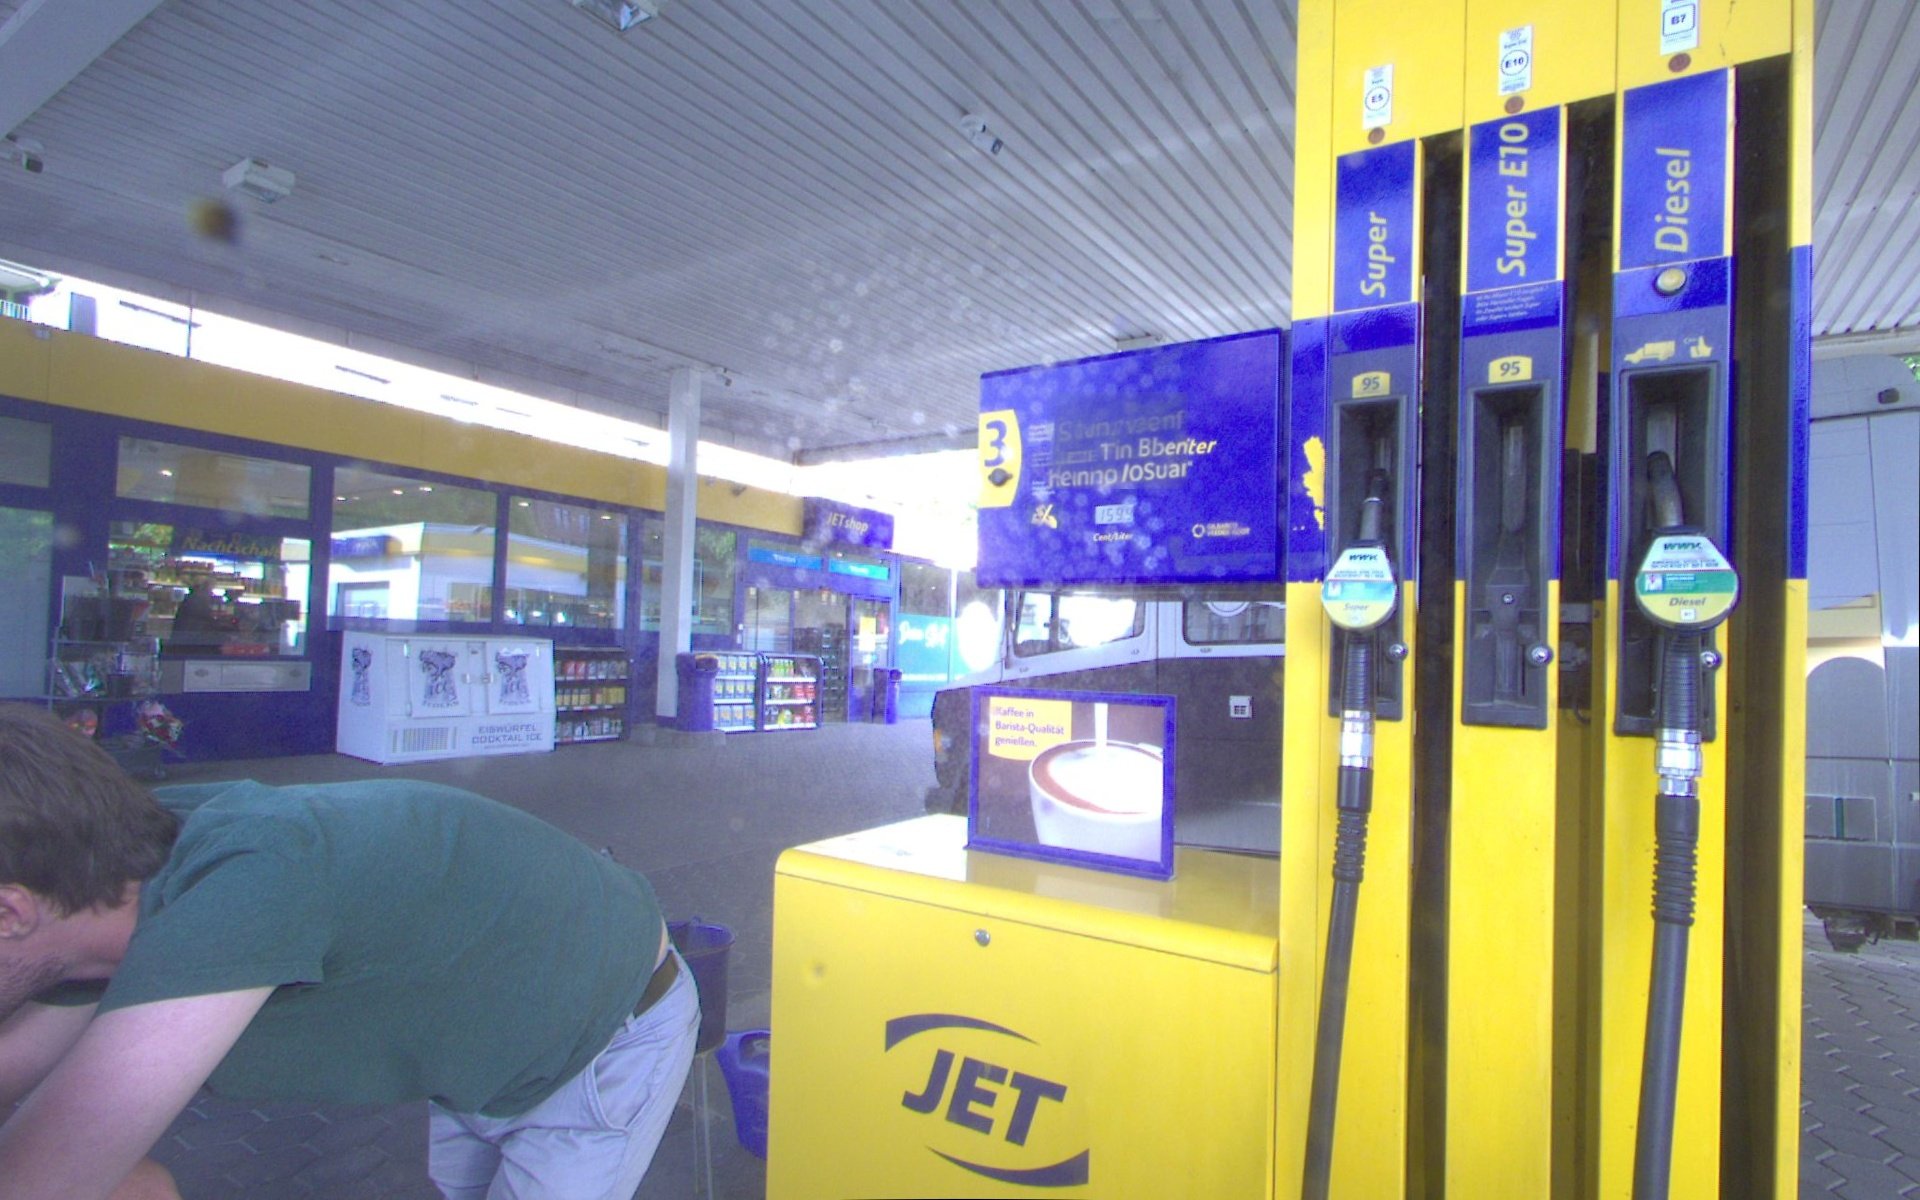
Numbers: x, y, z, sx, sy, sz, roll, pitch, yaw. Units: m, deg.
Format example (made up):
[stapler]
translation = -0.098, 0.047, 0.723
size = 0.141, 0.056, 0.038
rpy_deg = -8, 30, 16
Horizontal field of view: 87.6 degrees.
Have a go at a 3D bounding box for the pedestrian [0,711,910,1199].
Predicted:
[pedestrian]
translation = -0.534, 0.806, 1.078
size = 0.664, 1.298, 0.749
rpy_deg = -1, -1, 31

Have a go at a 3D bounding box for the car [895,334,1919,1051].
[car]
translation = 2.389, 0.410, 6.023
size = 5.219, 2.724, 2.250
rpy_deg = 0, -3, 34
